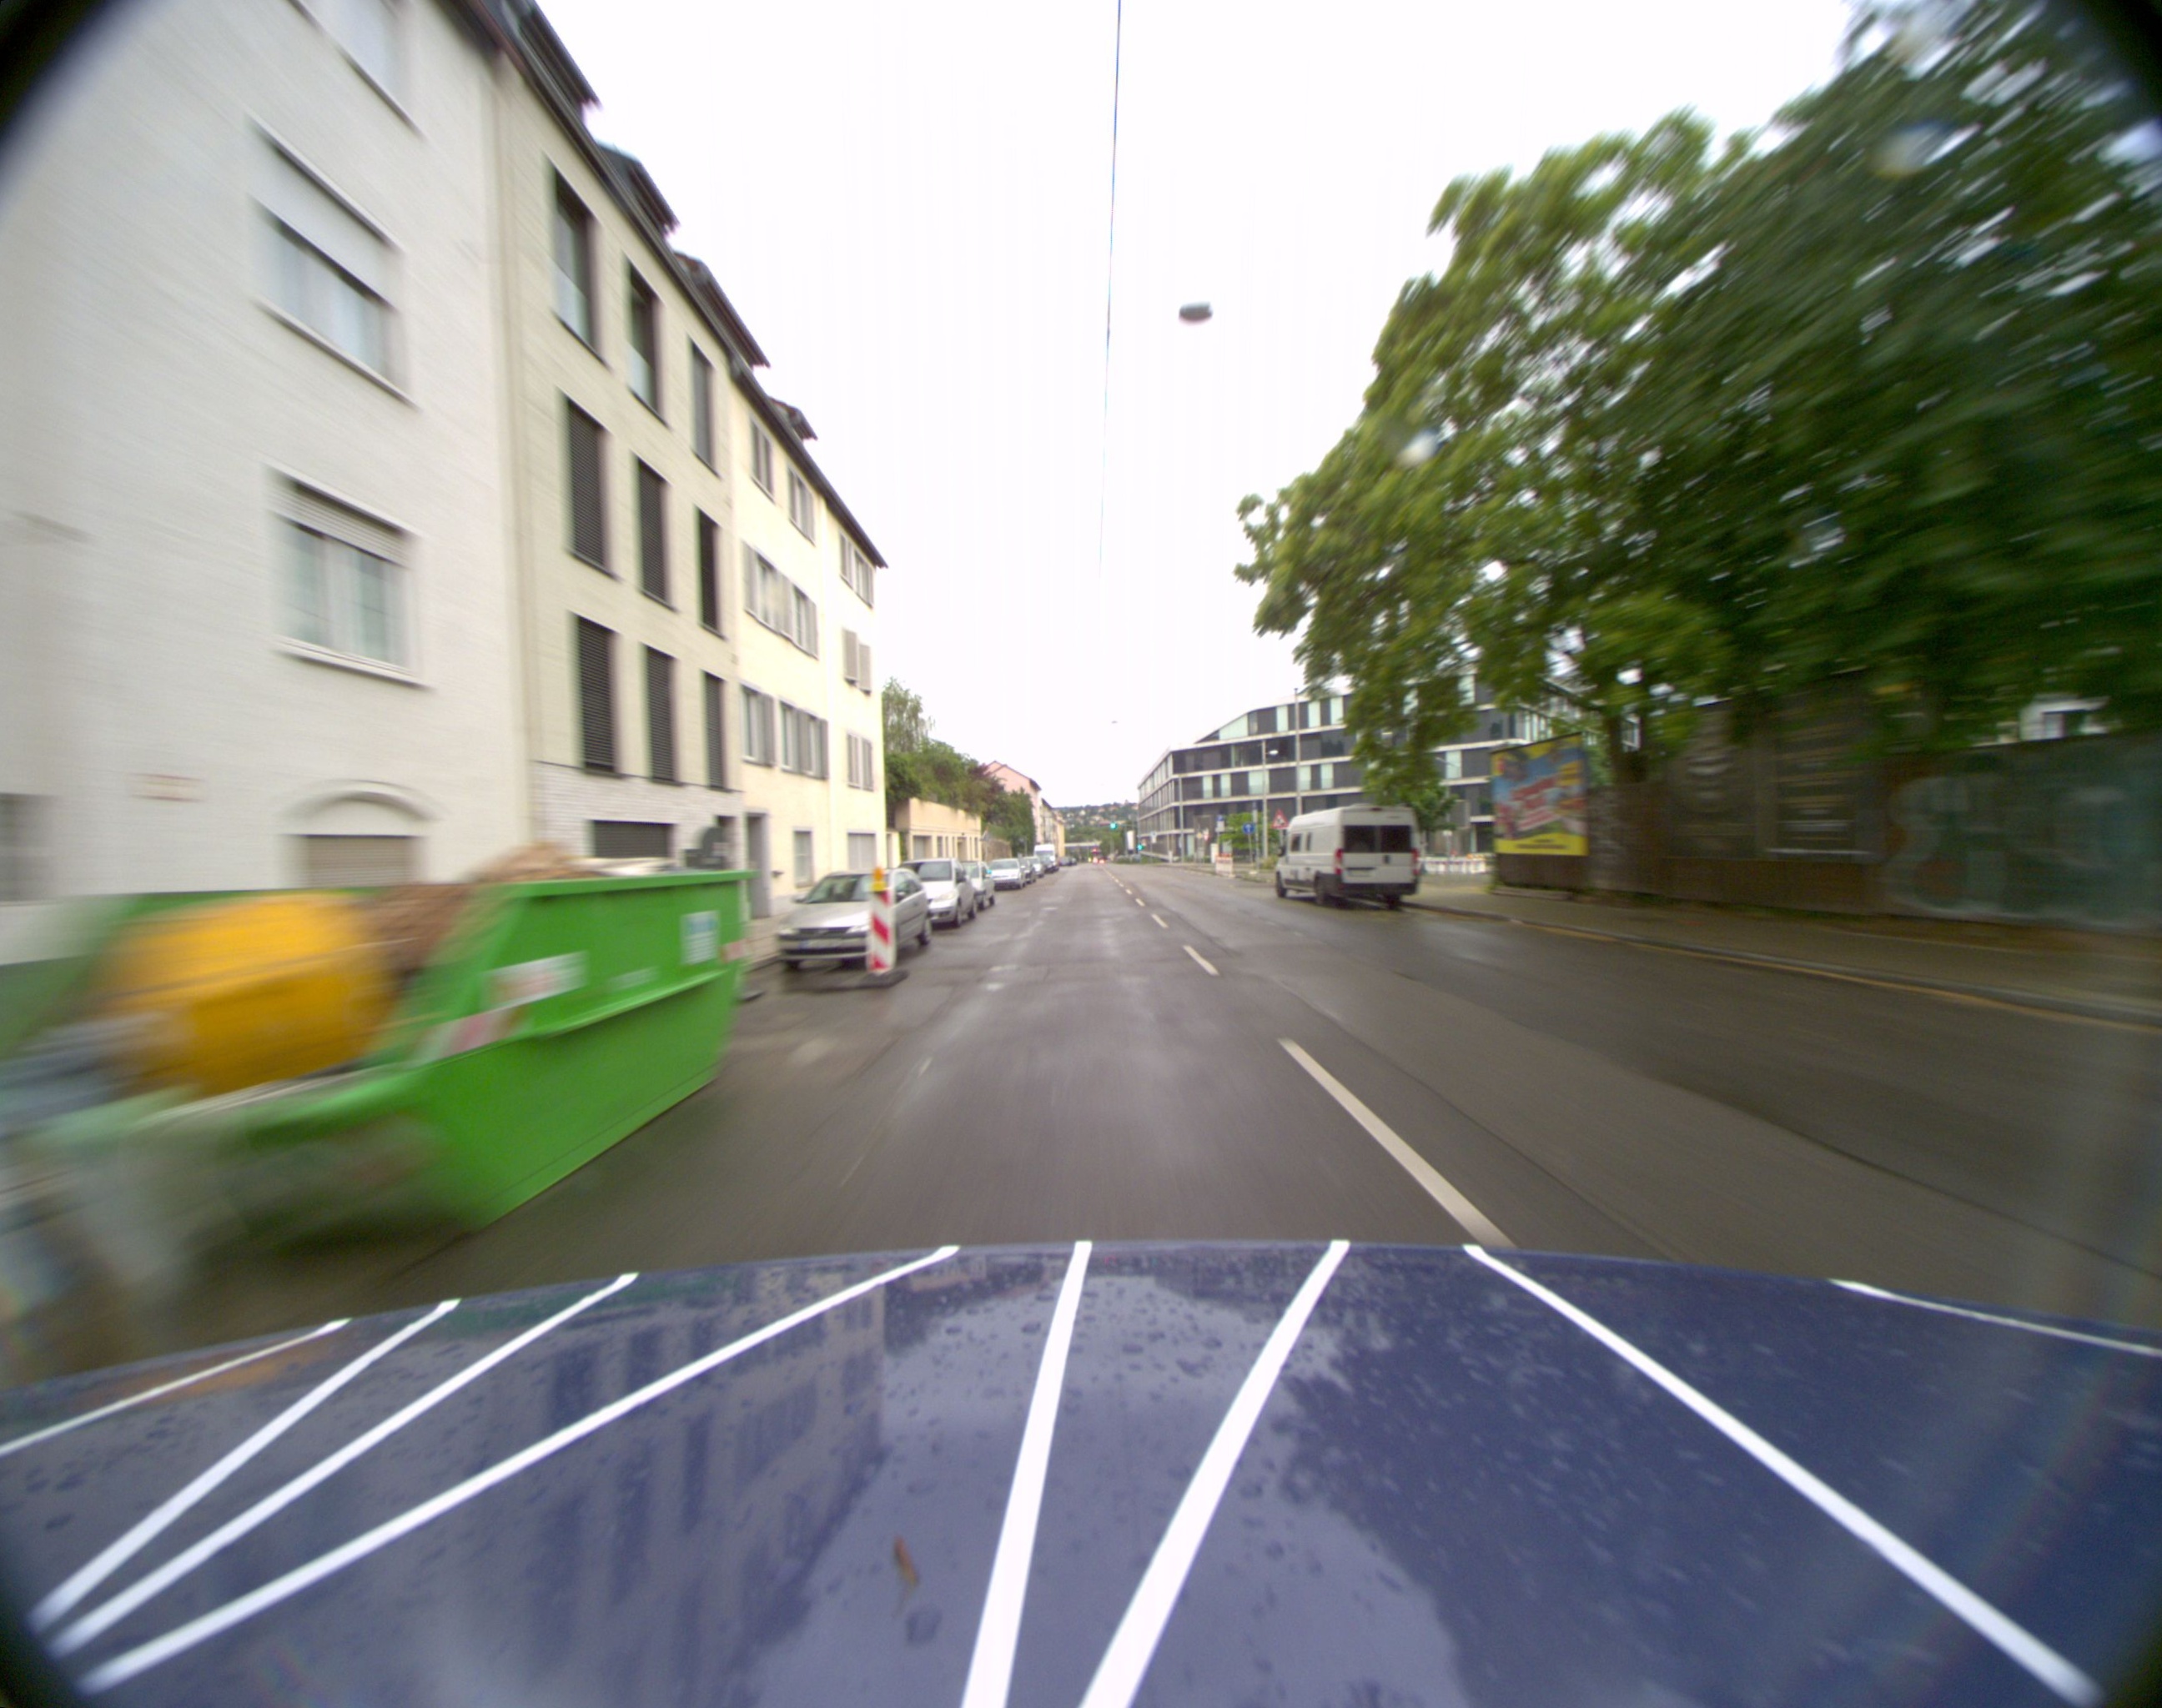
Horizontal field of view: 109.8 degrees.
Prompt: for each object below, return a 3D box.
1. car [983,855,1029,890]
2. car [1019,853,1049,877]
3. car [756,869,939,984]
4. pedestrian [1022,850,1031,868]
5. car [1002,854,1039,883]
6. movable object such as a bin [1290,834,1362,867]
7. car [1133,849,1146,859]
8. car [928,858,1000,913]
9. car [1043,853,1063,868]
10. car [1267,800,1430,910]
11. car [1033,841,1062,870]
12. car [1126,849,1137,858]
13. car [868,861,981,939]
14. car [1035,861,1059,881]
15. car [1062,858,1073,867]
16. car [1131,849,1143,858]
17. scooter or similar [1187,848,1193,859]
[{"bbox_3d":[-3.419,0.802,35.159,1.633,1.445,3.759,-3,0,0],"label":"car"},{"bbox_3d":[-3.218,0.739,52.744,1.693,1.445,4.235,-3,0,0],"label":"car"},{"bbox_3d":[-3.558,1.035,12.321,1.630,1.402,3.842,-3,0,1],"label":"car"},{"bbox_3d":[-5.200,0.474,72.804,0.725,1.705,0.905,0,0,2],"label":"pedestrian"},{"bbox_3d":[-3.259,0.751,41.295,1.633,1.445,3.759,-3,0,0],"label":"car"},{"bbox_3d":[19.122,-0.219,59.580,1.674,2.445,5.275,-2,1,-39],"label":"movable object such as a bin"},{"bbox_3d":[9.053,-0.011,118.635,1.641,1.458,3.583,-2,0,-1],"label":"car"},{"bbox_3d":[-3.499,0.892,23.331,1.562,1.445,3.759,-3,0,0],"label":"car"},{"bbox_3d":[-2.826,0.664,77.443,1.725,1.413,4.203,-3,0,2],"label":"car"},{"bbox_3d":[7.077,0.016,21.107,2.236,2.564,6.537,0,0,0],"label":"car"},{"bbox_3d":[-3.090,0.147,70.884,2.211,2.449,6.080,-3,0,1],"label":"car"},{"bbox_3d":[8.949,-0.058,135.146,1.887,1.580,4.364,-4,0,3],"label":"car"},{"bbox_3d":[-3.522,0.973,17.845,1.720,1.515,4.000,-3,0,0],"label":"car"},{"bbox_3d":[-2.798,1.386,63.742,1.693,1.445,4.235,-3,0,0],"label":"car"},{"bbox_3d":[-2.180,1.311,122.056,1.630,1.402,3.778,-2,0,1],"label":"car"},{"bbox_3d":[9.116,-0.026,124.051,1.641,1.458,3.584,-2,0,2],"label":"car"},{"bbox_3d":[11.879,-0.065,82.639,0.497,1.241,1.231,-3,1,2],"label":"scooter or similar"}]
